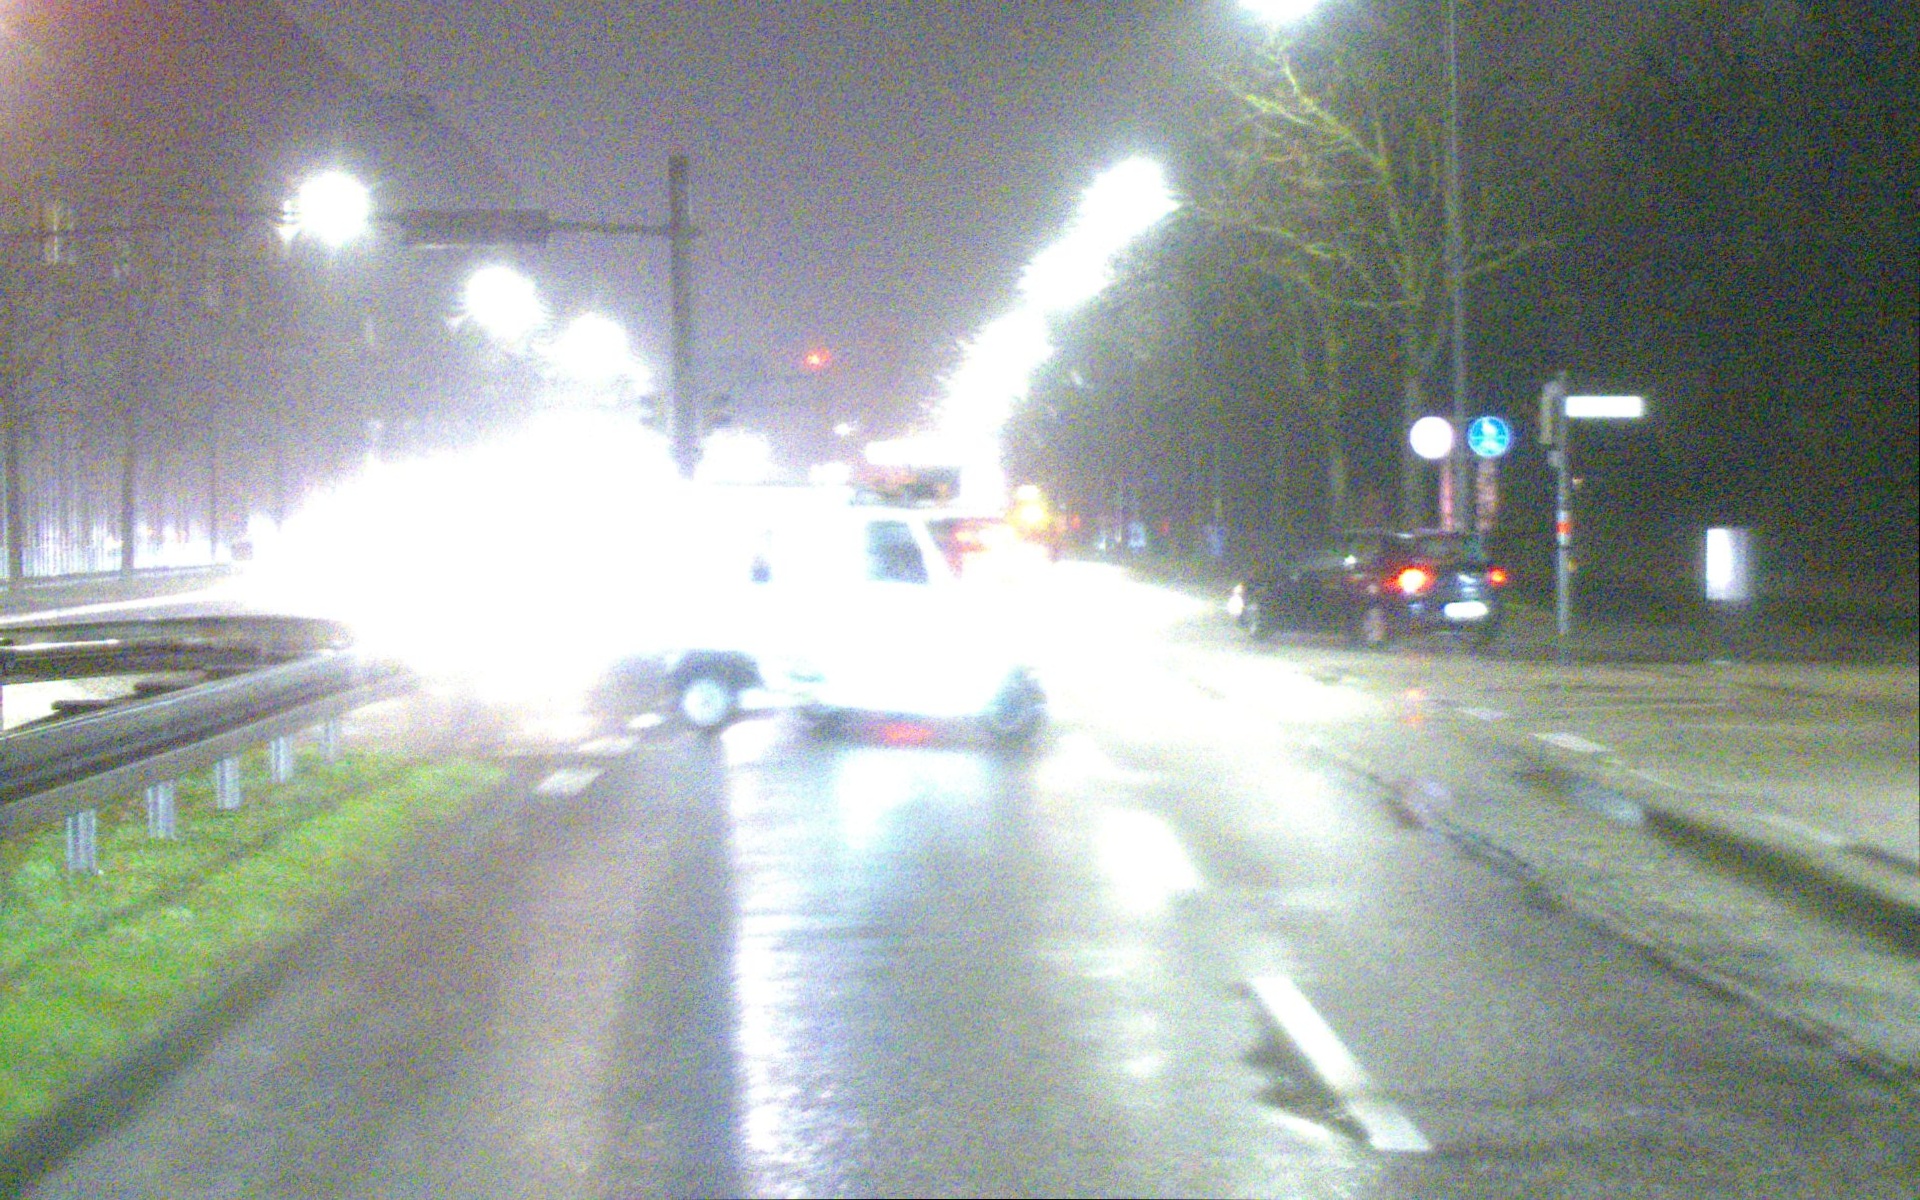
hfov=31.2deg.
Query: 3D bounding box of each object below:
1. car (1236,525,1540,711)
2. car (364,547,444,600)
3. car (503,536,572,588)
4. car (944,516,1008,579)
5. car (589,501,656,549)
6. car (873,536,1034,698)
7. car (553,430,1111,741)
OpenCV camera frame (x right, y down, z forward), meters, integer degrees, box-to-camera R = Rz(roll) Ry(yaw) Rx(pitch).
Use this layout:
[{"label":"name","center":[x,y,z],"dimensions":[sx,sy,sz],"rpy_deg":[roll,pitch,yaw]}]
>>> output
[{"label":"car","center":[5.302,0.200,43.013],"dimensions":[2.208,2.207,3.643],"rpy_deg":[0,0,-24]},{"label":"car","center":[-16.693,-0.796,103.289],"dimensions":[1.800,1.559,4.000],"rpy_deg":[0,0,-1]},{"label":"car","center":[-14.561,-1.305,118.579],"dimensions":[1.750,1.703,4.499],"rpy_deg":[-2,1,0]},{"label":"car","center":[0.543,-1.704,112.263],"dimensions":[2.038,2.007,4.307],"rpy_deg":[0,0,1]},{"label":"car","center":[-11.479,-2.539,117.225],"dimensions":[1.885,1.547,4.433],"rpy_deg":[0,0,-1]},{"label":"car","center":[-0.106,0.195,44.830],"dimensions":[1.993,2.007,4.000],"rpy_deg":[0,0,-1]},{"label":"car","center":[-0.914,-0.110,23.869],"dimensions":[3.563,2.007,1.701],"rpy_deg":[0,0,34]}]
